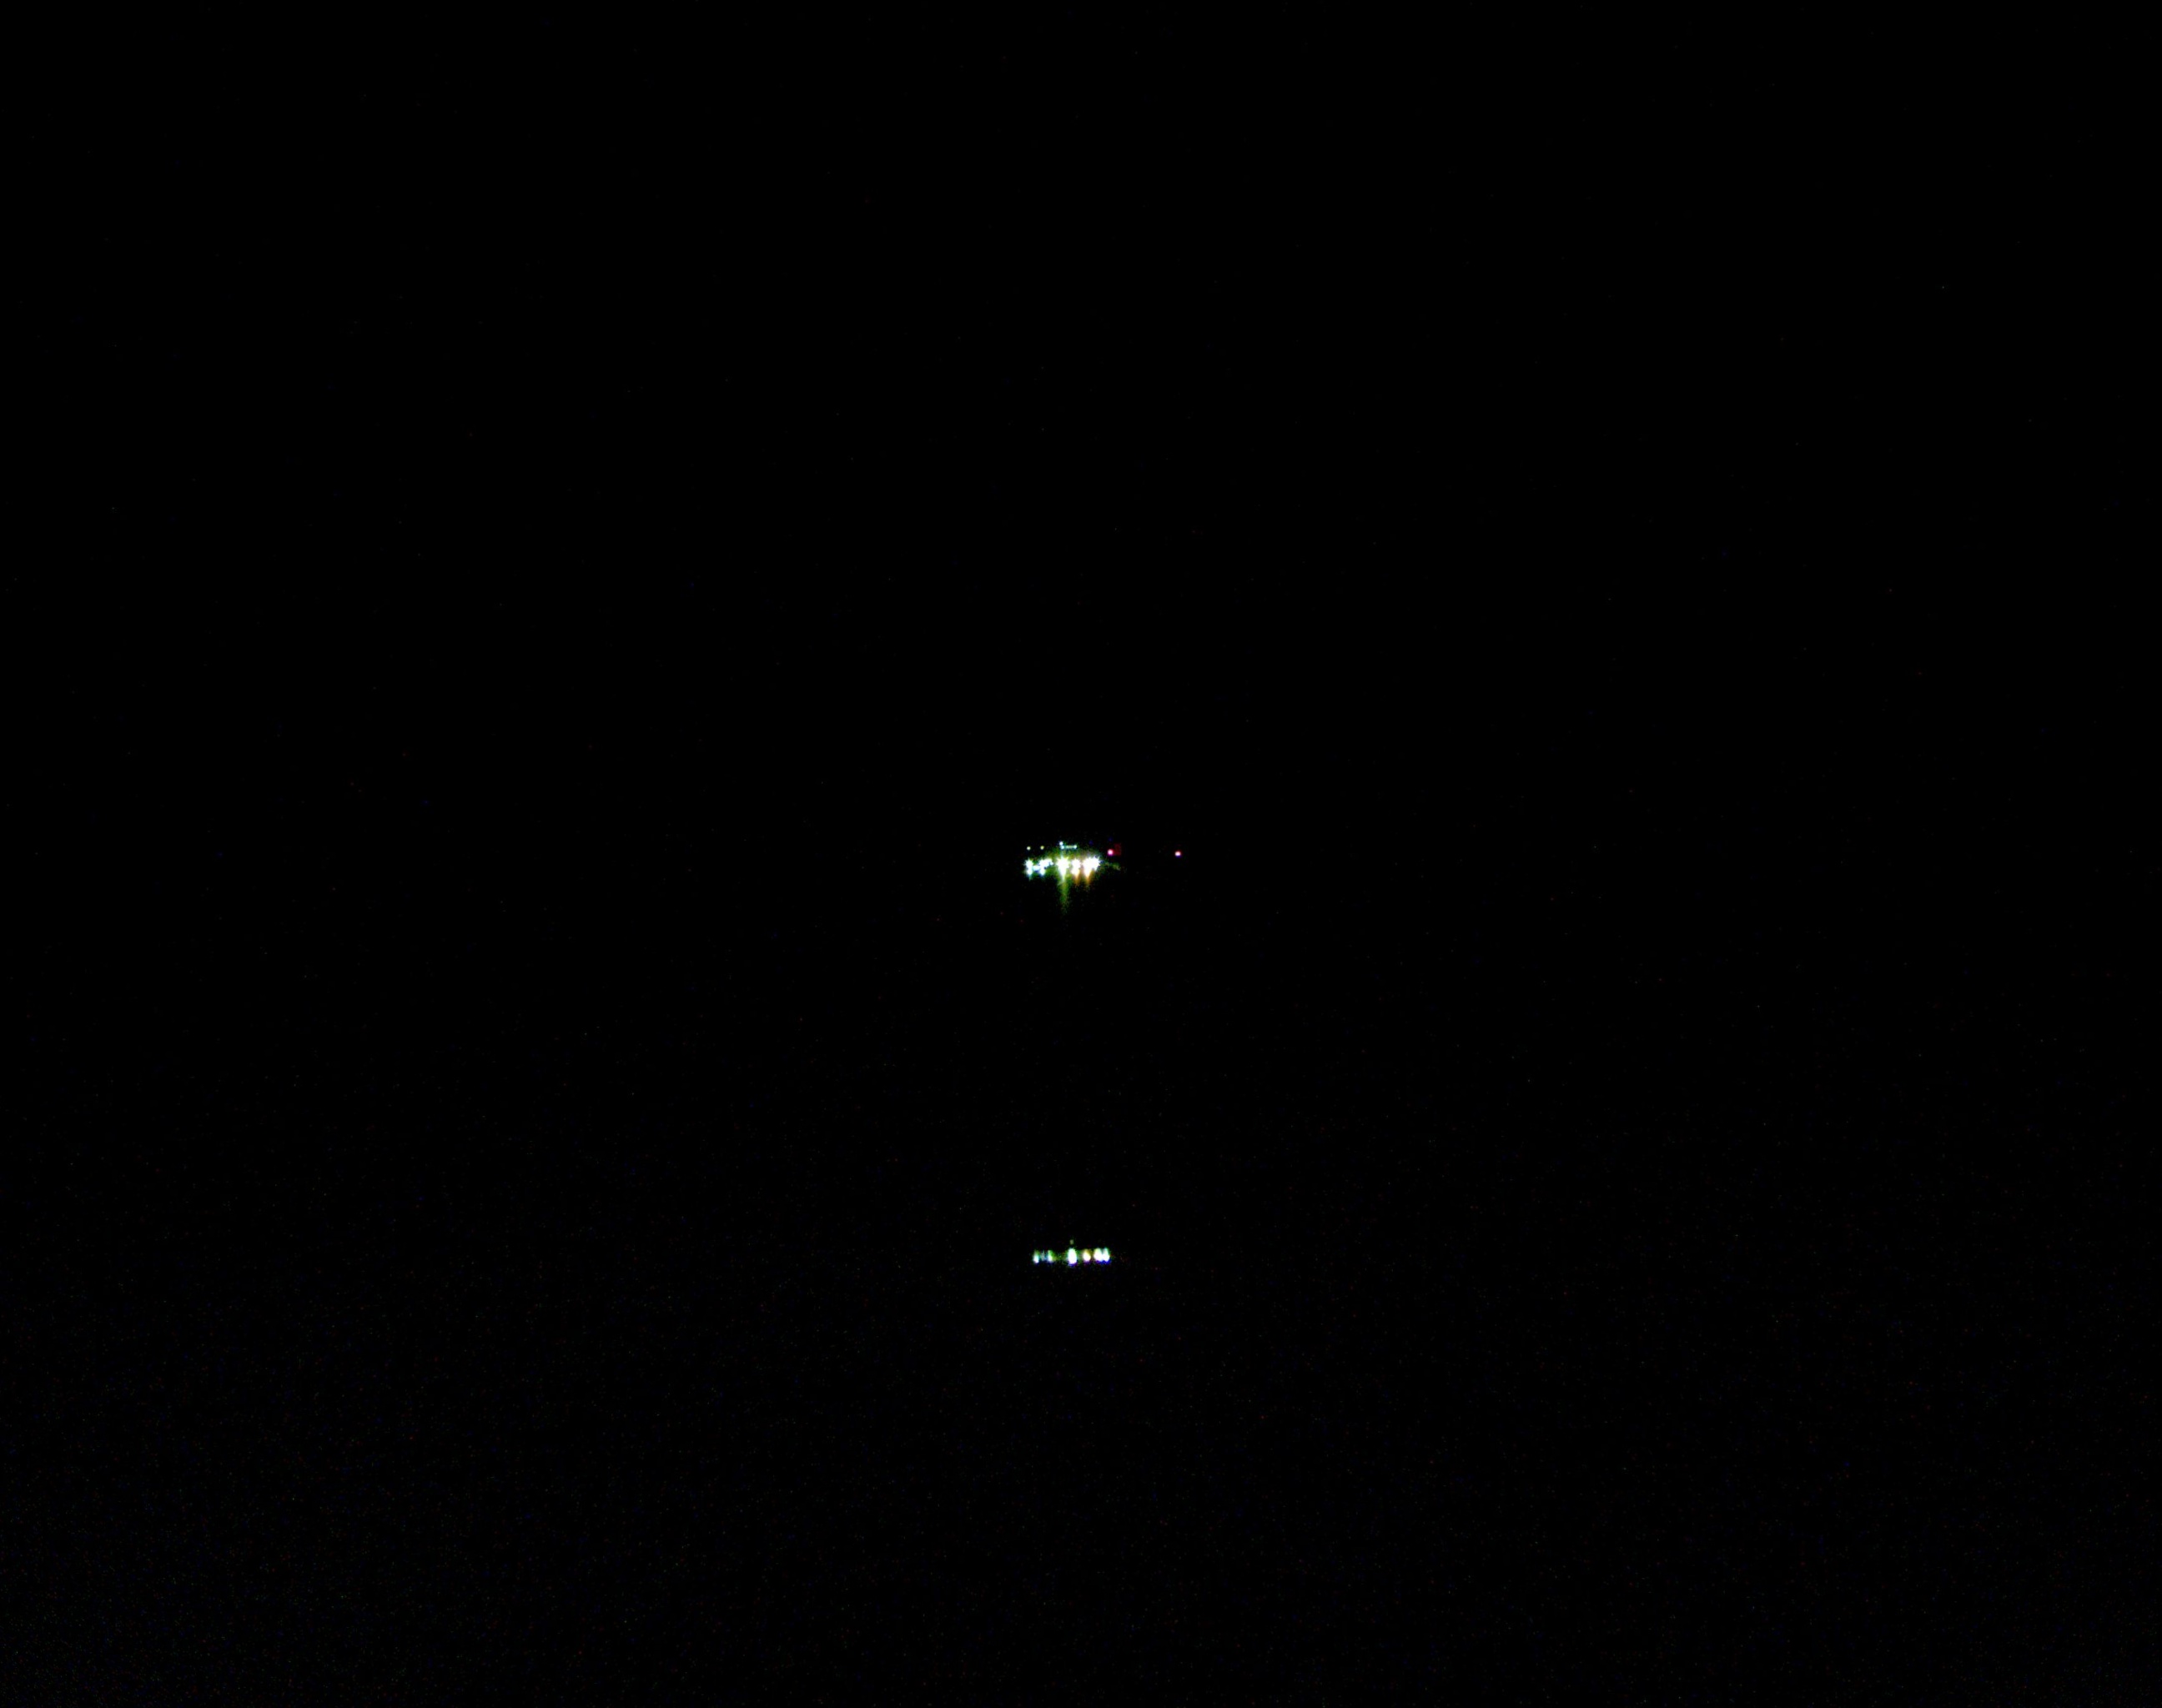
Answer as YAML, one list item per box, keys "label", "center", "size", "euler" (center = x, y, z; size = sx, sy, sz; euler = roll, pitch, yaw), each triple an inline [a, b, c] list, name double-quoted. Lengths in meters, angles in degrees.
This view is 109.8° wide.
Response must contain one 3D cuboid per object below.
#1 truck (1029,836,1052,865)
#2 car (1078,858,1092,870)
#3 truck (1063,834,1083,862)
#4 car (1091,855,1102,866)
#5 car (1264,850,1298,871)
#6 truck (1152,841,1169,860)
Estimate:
- label: "truck"
  center: [-6.045, -0.487, 113.975]
  size: [2.597, 4.048, 7.675]
  euler: [-3, -1, 2]
- label: "car"
  center: [0.527, 1.234, 96.854]
  size: [1.701, 1.379, 3.502]
  euler: [-3, -1, 1]
- label: "truck"
  center: [-1.216, -0.908, 118.313]
  size: [2.668, 4.181, 6.724]
  euler: [-3, 0, 2]
- label: "car"
  center: [4.440, 1.804, 214.934]
  size: [2.859, 2.795, 5.942]
  euler: [-3, -1, 2]
- label: "car"
  center: [16.656, 0.529, 63.545]
  size: [1.642, 1.542, 4.469]
  euler: [-3, 2, 0]
- label: "truck"
  center: [19.007, -0.791, 182.897]
  size: [3.120, 4.178, 16.983]
  euler: [1, -1, 2]
